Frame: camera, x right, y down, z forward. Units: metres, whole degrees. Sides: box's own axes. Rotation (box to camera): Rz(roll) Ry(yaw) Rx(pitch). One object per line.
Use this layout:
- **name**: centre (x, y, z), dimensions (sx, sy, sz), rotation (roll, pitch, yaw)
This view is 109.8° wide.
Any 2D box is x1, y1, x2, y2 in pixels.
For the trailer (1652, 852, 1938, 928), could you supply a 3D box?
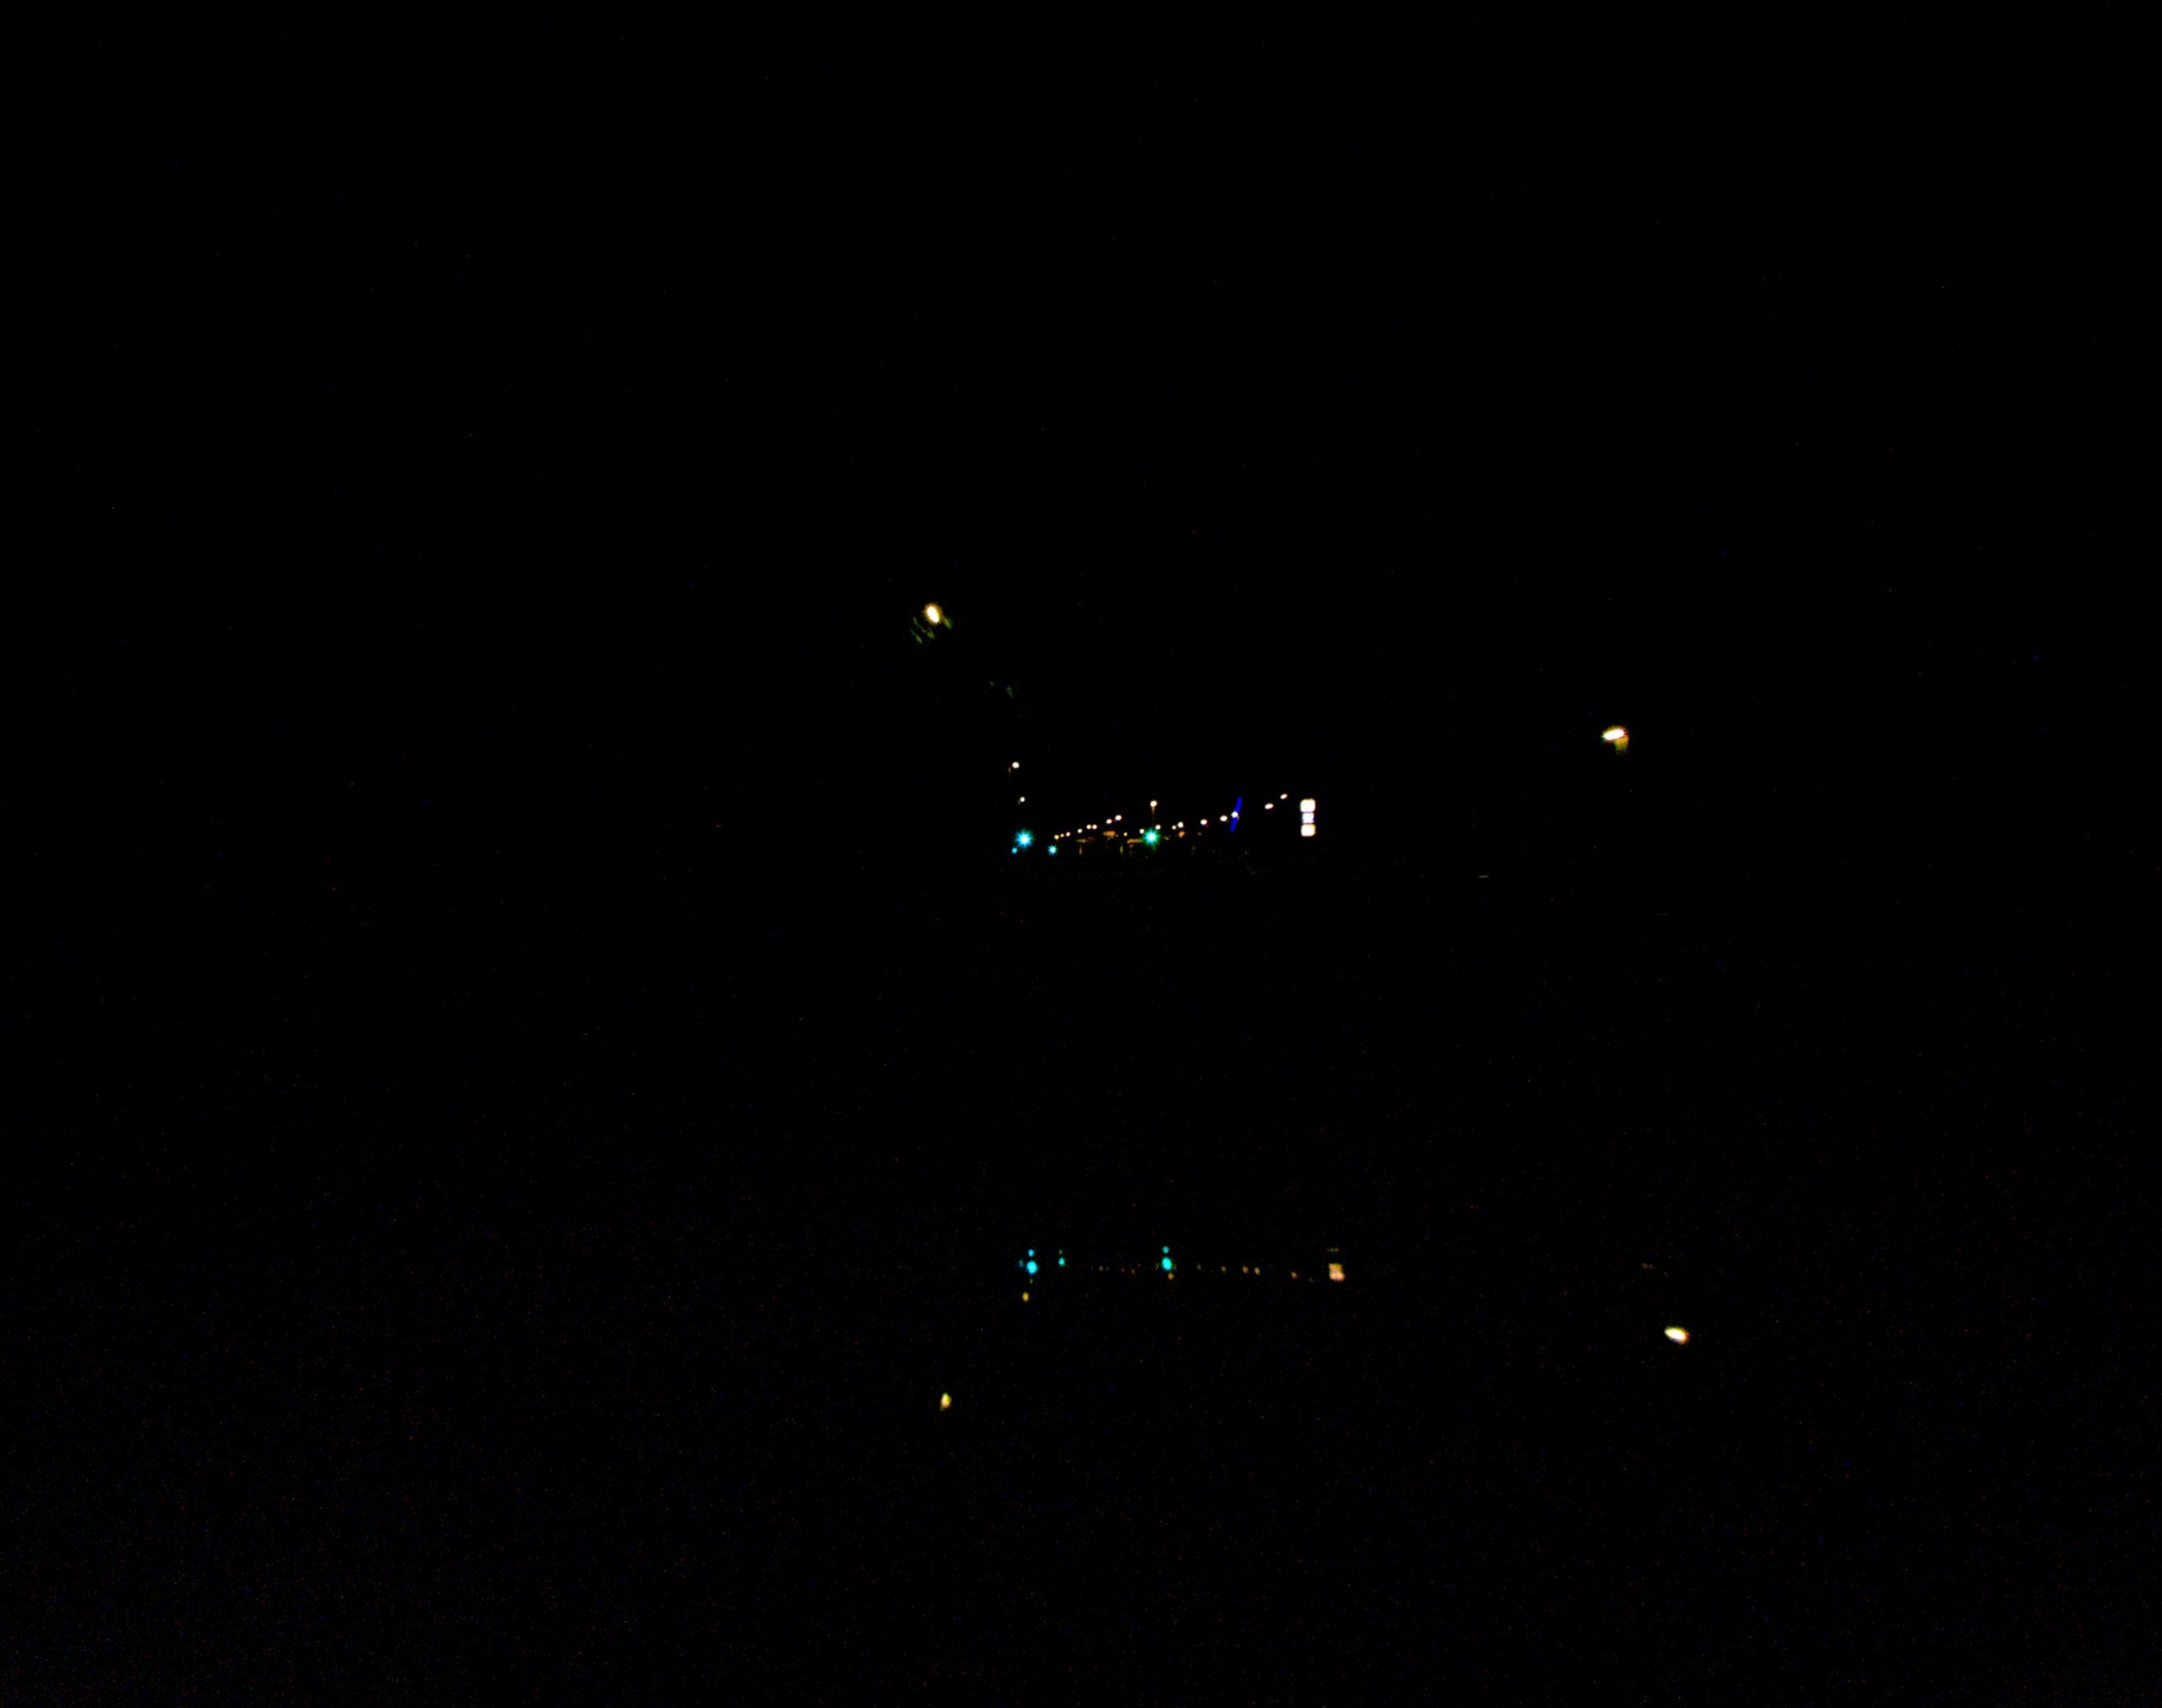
- **trailer**: centre (16.102, 0.713, 17.626), dimensions (2.424, 1.367, 4.656), rotation (3, 1, 5)

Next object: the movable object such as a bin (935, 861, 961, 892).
- **movable object such as a bin**: centre (-4.930, 0.825, 28.213), dimensions (0.724, 1.115, 0.894), rotation (0, 1, 8)

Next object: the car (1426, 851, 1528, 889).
- **car**: centre (15.827, 0.586, 30.648), dimensions (1.650, 1.332, 4.542), rotation (4, 0, 0)

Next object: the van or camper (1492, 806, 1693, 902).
- **van or camper**: centre (15.957, -0.018, 24.259), dimensions (2.279, 2.632, 5.661), rotation (2, 0, -4)

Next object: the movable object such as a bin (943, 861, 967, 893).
- **movable object such as a bin**: centre (-4.813, 0.859, 29.046), dimensions (0.725, 1.194, 0.720), rotation (0, 1, 8)
